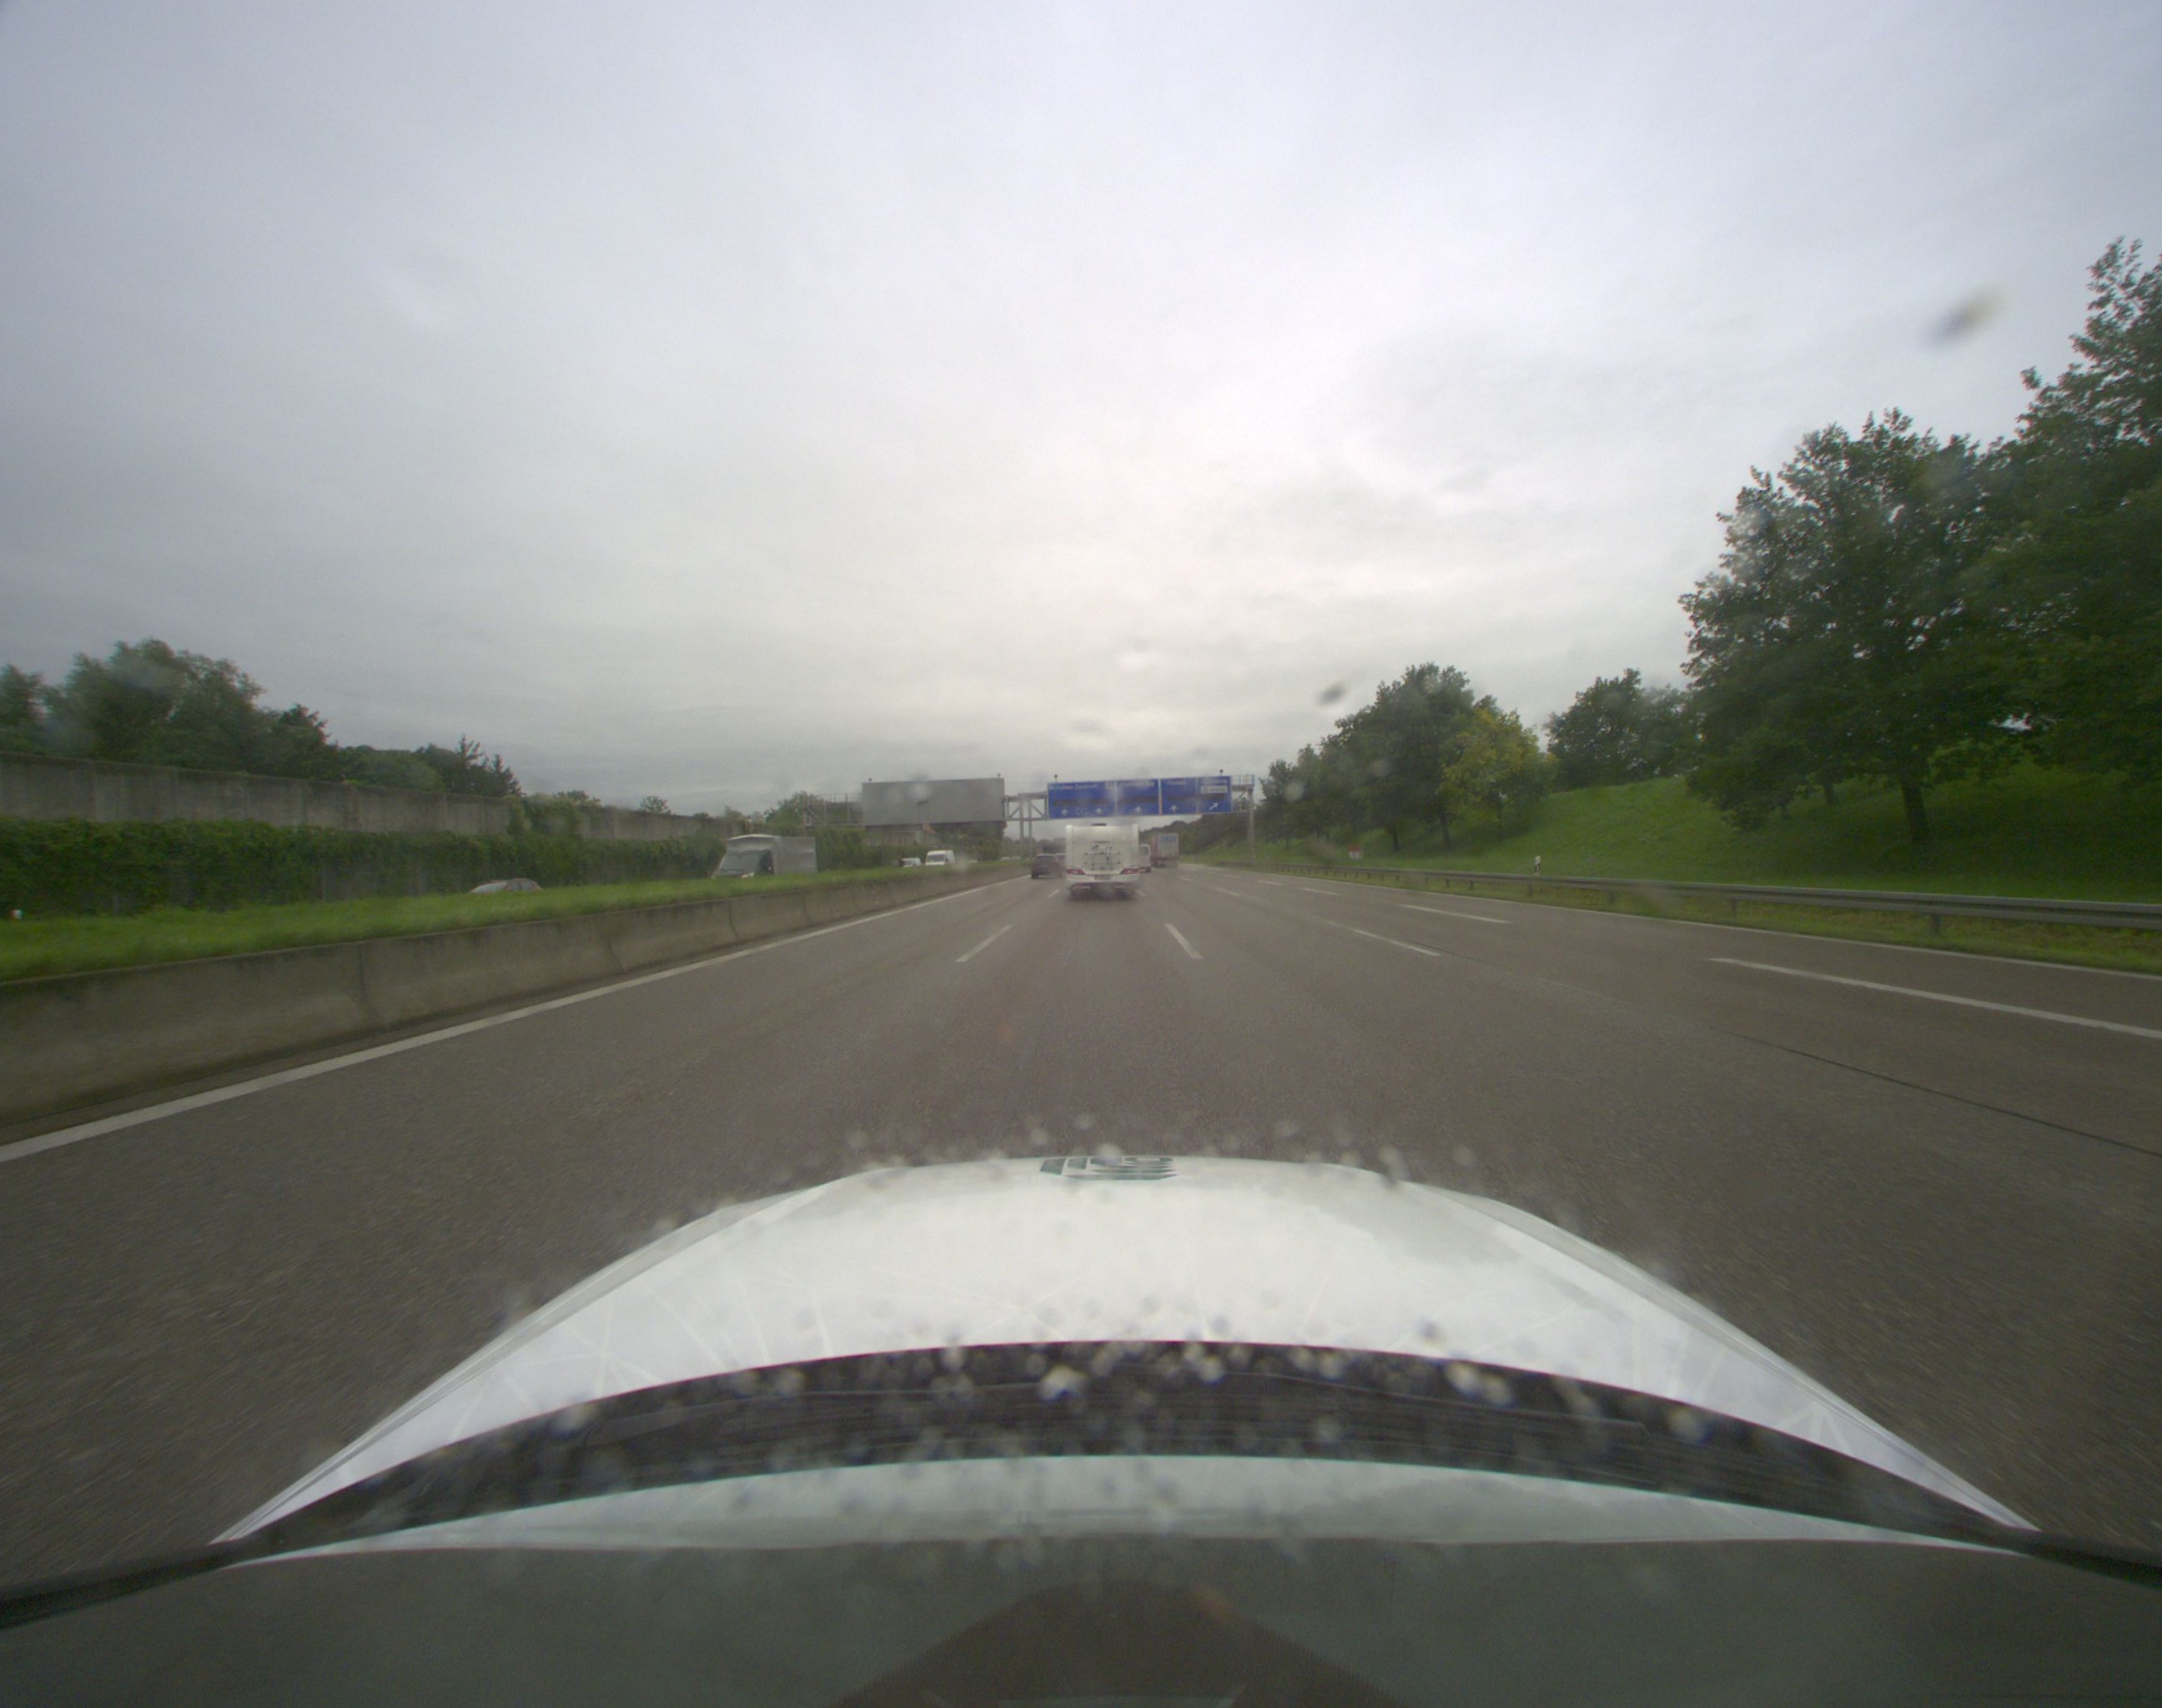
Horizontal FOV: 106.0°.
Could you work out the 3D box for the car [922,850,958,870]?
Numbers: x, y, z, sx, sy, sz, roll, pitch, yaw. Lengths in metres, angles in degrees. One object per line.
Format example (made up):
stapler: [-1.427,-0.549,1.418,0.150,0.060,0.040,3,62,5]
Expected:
car: [-13.829,0.572,80.304,2.118,1.912,6.536,0,0,2]

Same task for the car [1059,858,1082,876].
car: [-1.019,1.300,81.816,2.120,1.706,4.113,1,-1,1]

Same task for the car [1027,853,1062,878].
car: [-2.404,0.766,55.074,1.986,1.600,5.124,0,0,1]

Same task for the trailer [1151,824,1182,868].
trailer: [10.215,-0.837,98.177,3.087,4.922,11.797,0,0,3]

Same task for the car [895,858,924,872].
car: [-17.381,1.079,82.798,1.872,1.344,4.528,-1,0,1]

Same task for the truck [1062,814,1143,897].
truck: [0.764,0.065,29.450,2.651,2.742,5.078,0,0,1]

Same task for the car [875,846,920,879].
car: [-11.499,0.534,51.201,1.761,2.014,4.002,0,0,2]

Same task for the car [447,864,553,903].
car: [-25.616,1.259,36.113,1.612,1.607,4.071,0,0,3]

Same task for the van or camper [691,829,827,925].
van or camper: [-14.571,0.985,37.746,2.697,3.948,8.405,0,0,2]

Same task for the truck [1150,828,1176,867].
truck: [10.582,-0.813,105.869,3.036,4.839,5.854,0,-1,3]

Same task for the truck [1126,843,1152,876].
truck: [5.006,0.463,70.800,2.046,2.770,5.550,0,0,1]
